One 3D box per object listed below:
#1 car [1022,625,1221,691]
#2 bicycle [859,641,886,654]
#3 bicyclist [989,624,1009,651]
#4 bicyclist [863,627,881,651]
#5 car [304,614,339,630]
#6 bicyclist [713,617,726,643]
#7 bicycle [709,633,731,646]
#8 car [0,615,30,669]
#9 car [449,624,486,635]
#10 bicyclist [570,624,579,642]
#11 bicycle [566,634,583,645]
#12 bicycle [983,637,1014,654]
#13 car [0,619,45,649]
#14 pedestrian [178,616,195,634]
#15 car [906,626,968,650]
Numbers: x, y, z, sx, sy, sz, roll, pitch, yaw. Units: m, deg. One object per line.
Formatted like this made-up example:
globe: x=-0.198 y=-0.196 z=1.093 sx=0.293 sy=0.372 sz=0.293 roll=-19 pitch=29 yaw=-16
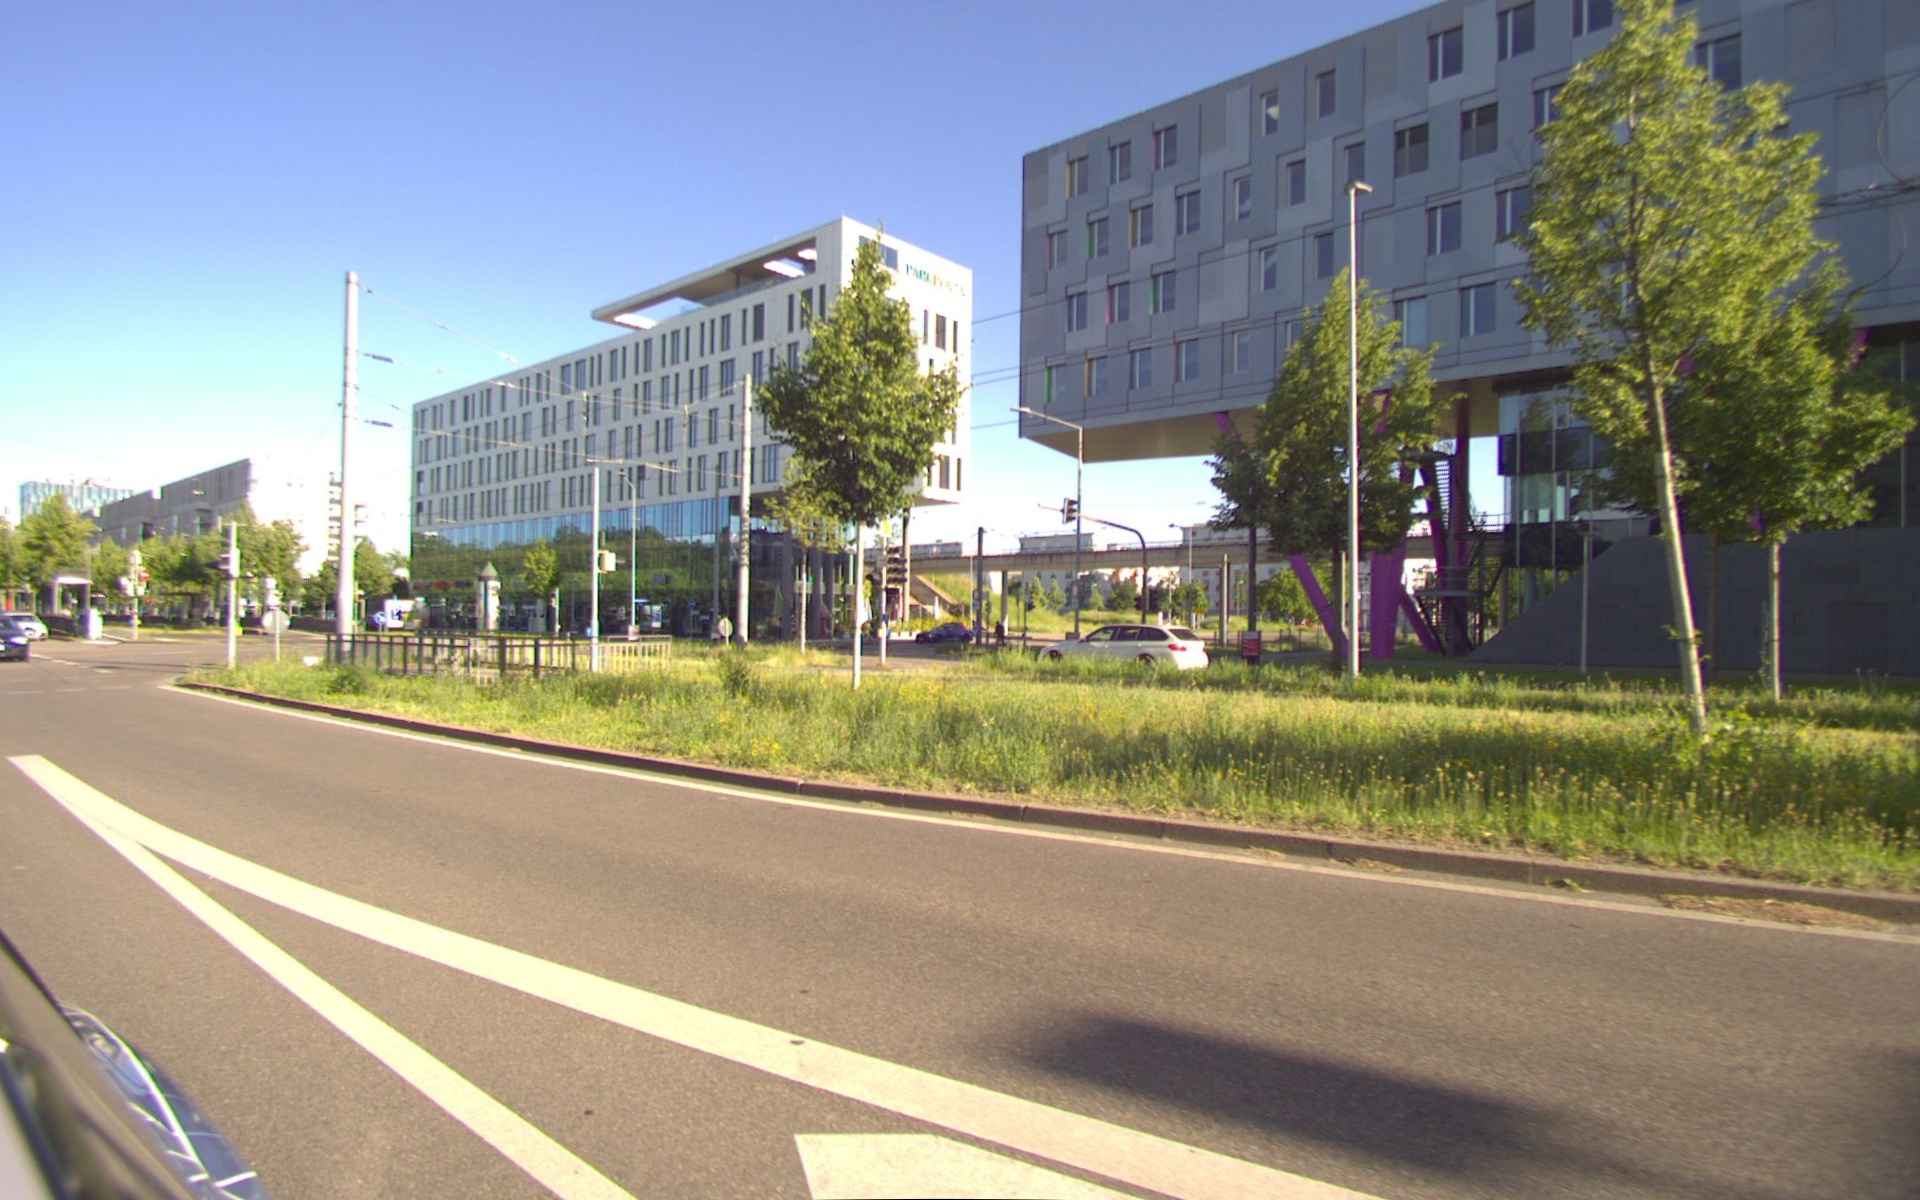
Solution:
car: x=4.147 y=1.445 z=26.500 sx=4.868 sy=1.574 sz=1.973 roll=-1 pitch=-2 yaw=40
bicycle: x=-5.948 y=3.219 z=68.847 sx=0.749 sy=0.869 sz=1.804 roll=-2 pitch=-2 yaw=43
bicyclist: x=2.091 y=1.990 z=54.150 sx=0.958 sy=1.446 sz=0.564 roll=-1 pitch=-2 yaw=41
bicyclist: x=-5.991 y=2.639 z=68.820 sx=0.751 sy=1.595 sz=0.943 roll=-2 pitch=-2 yaw=43
car: x=-64.860 y=2.248 z=102.755 sx=4.340 sy=1.538 sz=1.780 roll=-1 pitch=0 yaw=40
bicyclist: x=-16.609 y=2.073 z=69.931 sx=0.837 sy=1.739 sz=0.524 roll=-2 pitch=-2 yaw=42
bicycle: x=-16.594 y=2.718 z=69.898 sx=1.833 sy=0.869 sz=0.522 roll=-1 pitch=-2 yaw=42
car: x=-29.473 y=1.241 z=30.377 sx=4.340 sy=1.538 sz=1.780 roll=-1 pitch=0 yaw=40
car: x=-63.931 y=3.792 z=131.388 sx=1.873 sy=1.365 sz=3.950 roll=-1 pitch=0 yaw=37
bicyclist: x=-31.232 y=2.681 z=82.006 sx=0.552 sy=1.434 sz=0.477 roll=-1 pitch=-2 yaw=36
bicycle: x=-31.277 y=3.198 z=82.021 sx=1.689 sy=0.869 sz=0.477 roll=-1 pitch=-2 yaw=37
bicycle: x=2.057 y=2.418 z=54.167 sx=1.691 sy=0.869 sz=0.569 roll=-1 pitch=-2 yaw=41
car: x=-47.563 y=1.673 z=50.924 sx=4.000 sy=1.437 sz=1.655 roll=-1 pitch=0 yaw=38
pedestrian: x=-64.114 y=2.082 z=83.879 sx=1.053 sy=1.477 sz=0.845 roll=1 pitch=-2 yaw=-44
car: x=-1.533 y=2.597 z=68.876 sx=2.001 sy=1.577 sz=3.942 roll=-1 pitch=-3 yaw=44
